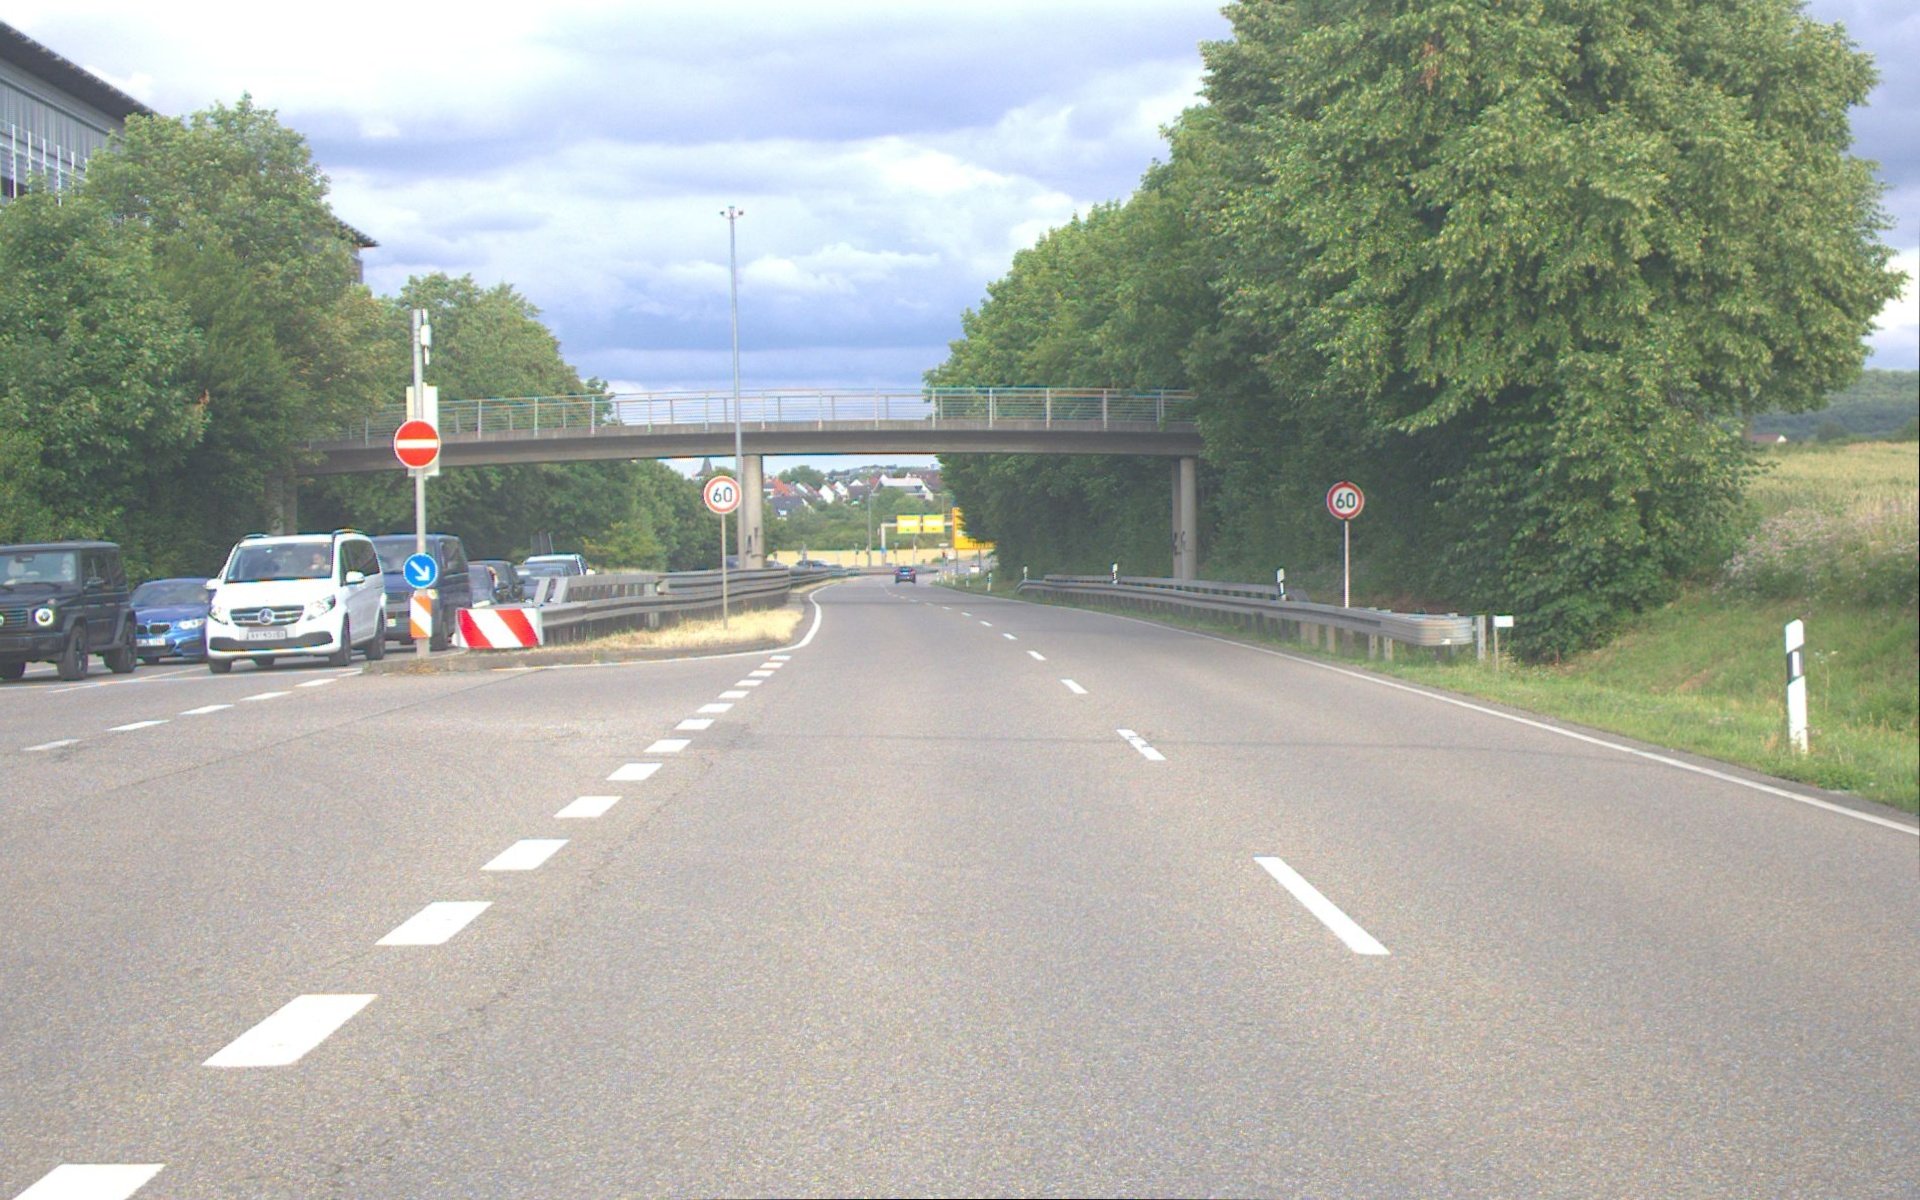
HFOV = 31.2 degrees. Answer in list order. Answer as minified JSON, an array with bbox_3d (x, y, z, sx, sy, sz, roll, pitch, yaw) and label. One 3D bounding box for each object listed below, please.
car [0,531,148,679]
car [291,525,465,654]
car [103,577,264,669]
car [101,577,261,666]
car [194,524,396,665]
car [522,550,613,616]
[{"bbox_3d":[-13.239,0.060,49.480,1.934,1.983,5.091,-2,1,-1],"label":"car"},{"bbox_3d":[-9.593,-0.196,57.071,1.898,1.910,5.050,-4,1,0],"label":"car"},{"bbox_3d":[-12.672,0.353,56.306,1.648,1.383,4.186,-1,1,0],"label":"car"},{"bbox_3d":[-12.716,0.322,56.332,1.721,1.236,4.000,-4,1,-1],"label":"car"},{"bbox_3d":[-9.519,-0.108,49.626,1.934,1.866,5.347,-2,1,-1],"label":"car"},{"bbox_3d":[-9.689,-0.439,85.195,1.822,1.579,4.791,-1,1,-2],"label":"car"}]
